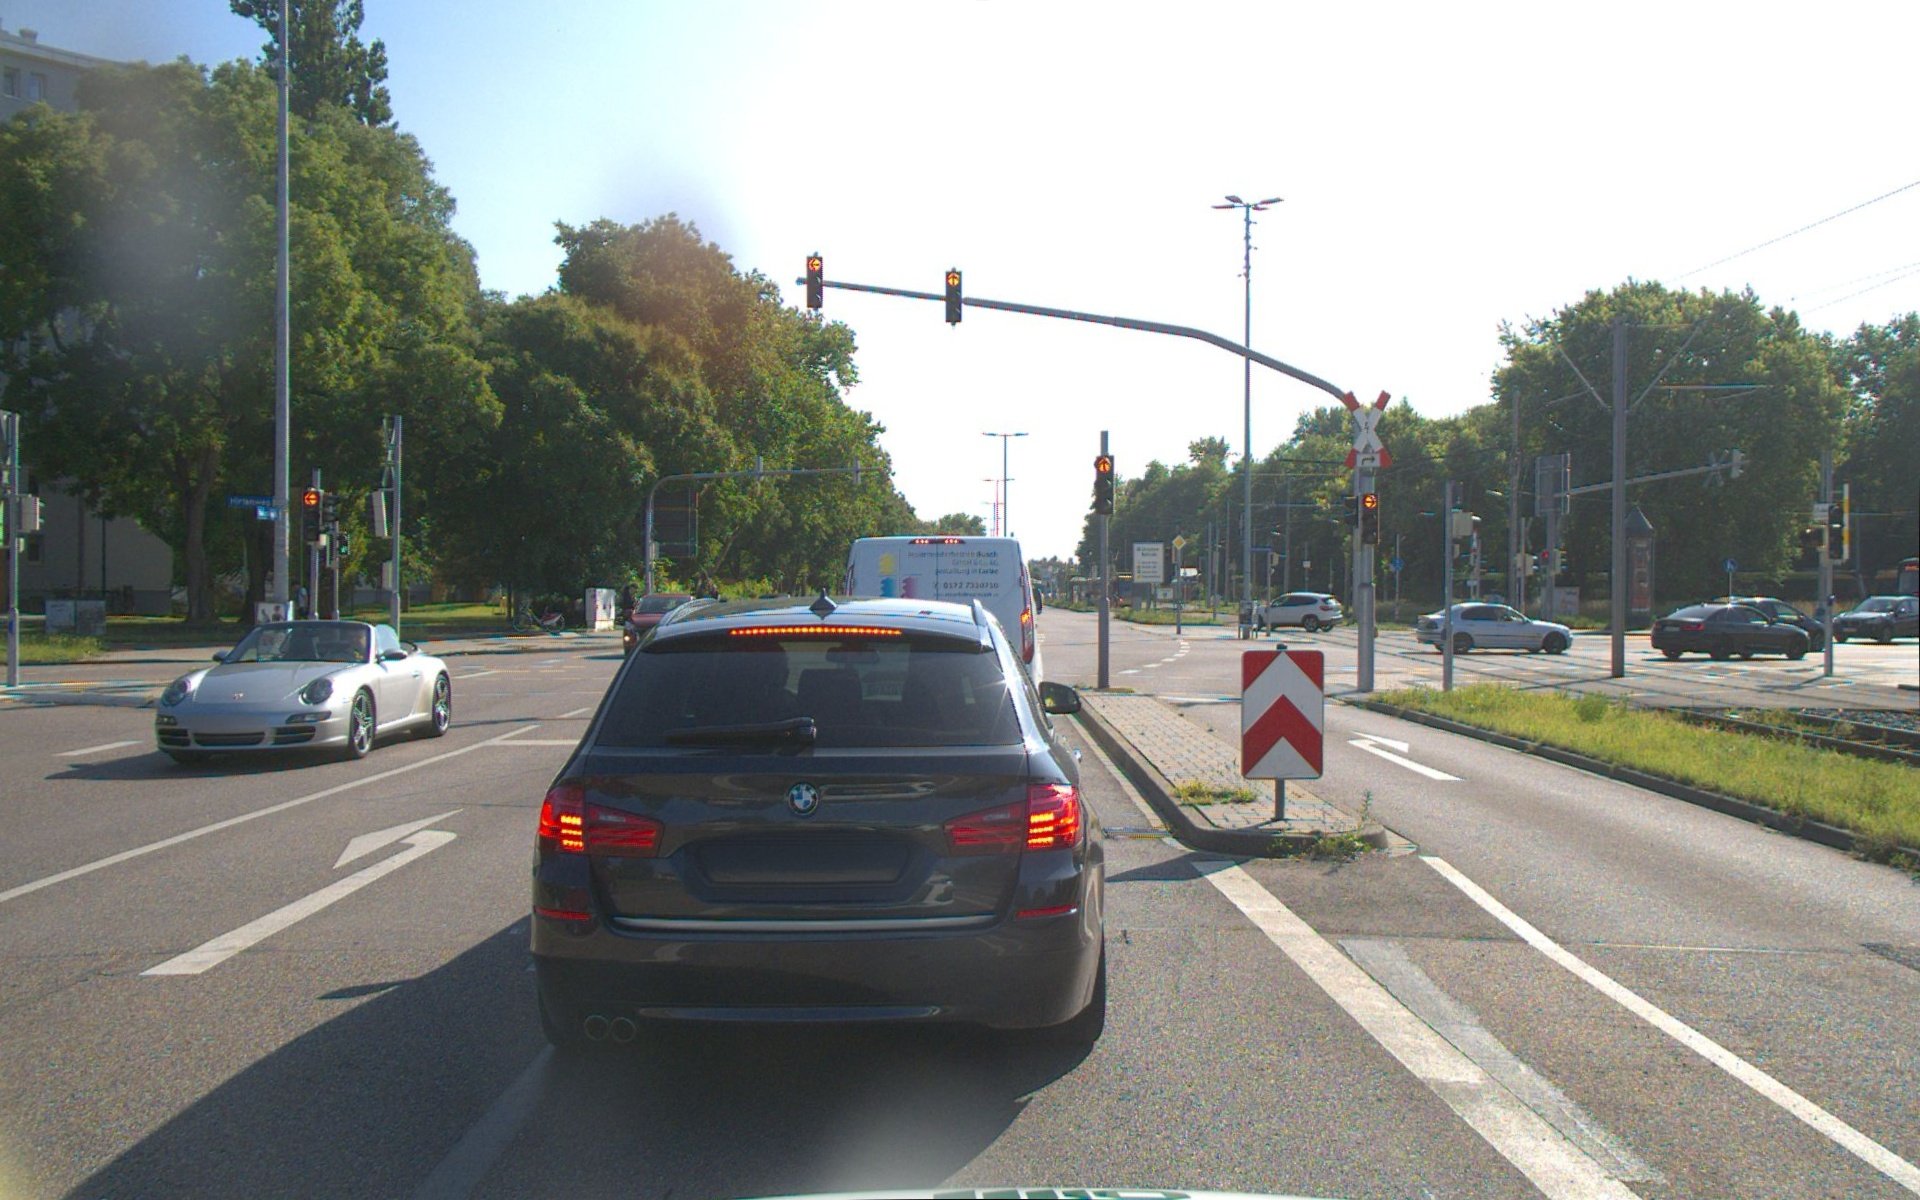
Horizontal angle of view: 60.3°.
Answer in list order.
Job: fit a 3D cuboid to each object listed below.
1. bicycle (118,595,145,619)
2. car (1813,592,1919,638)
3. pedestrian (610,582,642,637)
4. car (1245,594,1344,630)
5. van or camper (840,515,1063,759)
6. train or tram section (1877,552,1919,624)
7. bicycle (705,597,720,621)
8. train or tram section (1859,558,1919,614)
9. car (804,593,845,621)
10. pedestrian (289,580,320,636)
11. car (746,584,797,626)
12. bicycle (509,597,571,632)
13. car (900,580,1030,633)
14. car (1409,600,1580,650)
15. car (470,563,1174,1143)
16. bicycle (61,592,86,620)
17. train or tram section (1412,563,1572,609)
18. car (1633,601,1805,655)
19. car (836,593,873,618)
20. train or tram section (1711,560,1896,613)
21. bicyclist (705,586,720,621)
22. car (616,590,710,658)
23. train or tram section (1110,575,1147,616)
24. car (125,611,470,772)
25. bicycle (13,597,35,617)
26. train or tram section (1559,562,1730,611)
[{"bbox_3d":[-33.477,0.265,66.803,0.663,0.936,2.377,0,0,-35],"label":"bicycle"},{"bbox_3d":[32.828,0.507,58.938,4.792,1.590,2.025,0,0,-29],"label":"car"},{"bbox_3d":[-10.966,0.319,54.364,0.798,1.782,0.932,0,0,5],"label":"pedestrian"},{"bbox_3d":[14.477,0.489,71.613,3.823,1.512,1.791,0,0,37],"label":"car"},{"bbox_3d":[-0.044,0.307,16.783,1.952,2.133,4.599,0,0,1],"label":"van or camper"},{"bbox_3d":[53.122,-0.609,88.000,11.721,3.642,3.015,0,0,-37],"label":"train or tram section"},{"bbox_3d":[-11.150,0.406,74.499,0.608,1.058,2.068,0,0,-7],"label":"bicycle"},{"bbox_3d":[63.738,-0.924,108.478,2.981,3.642,12.231,0,0,0],"label":"train or tram section"},{"bbox_3d":[-7.167,0.341,87.721,1.742,1.439,4.245,0,0,1],"label":"car"},{"bbox_3d":[-20.326,0.245,51.267,0.610,1.743,0.705,0,0,11],"label":"pedestrian"},{"bbox_3d":[-7.535,0.188,66.424,1.600,1.587,3.676,-2,0,0],"label":"car"},{"bbox_3d":[-13.814,0.487,54.428,1.870,1.138,0.632,0,0,-1],"label":"bicycle"},{"bbox_3d":[0.132,0.200,56.300,4.540,1.752,1.639,0,0,42],"label":"car"},{"bbox_3d":[15.367,0.698,47.723,4.304,1.377,2.000,0,0,1],"label":"car"},{"bbox_3d":[-0.385,0.660,6.423,1.864,1.532,4.064,0,0,-1],"label":"car"},{"bbox_3d":[-35.152,0.244,65.586,0.606,1.085,1.892,1,-2,-37],"label":"bicycle"},{"bbox_3d":[43.516,-1.129,135.479,12.170,3.642,3.048,0,0,31],"label":"train or tram section"},{"bbox_3d":[20.268,0.715,44.146,4.342,1.378,1.982,0,0,-28],"label":"car"},{"bbox_3d":[-6.782,0.377,106.456,1.666,1.491,4.371,-1,-2,5],"label":"car"},{"bbox_3d":[60.920,-0.948,119.879,3.017,3.642,12.087,0,0,-34],"label":"train or tram section"},{"bbox_3d":[-11.149,0.155,74.513,0.596,1.587,0.602,1,0,-8],"label":"bicyclist"},{"bbox_3d":[-7.107,0.540,39.843,1.660,1.524,3.675,-1,0,-2],"label":"car"},{"bbox_3d":[15.662,-0.370,154.335,2.738,3.681,12.960,1,0,3],"label":"train or tram section"},{"bbox_3d":[-6.340,0.801,16.394,1.743,1.333,4.286,0,0,-1],"label":"car"},{"bbox_3d":[-36.608,0.263,64.685,0.578,0.721,2.211,0,1,-35],"label":"bicycle"},{"bbox_3d":[53.278,-1.035,128.968,11.984,3.642,3.043,0,0,36],"label":"train or tram section"}]
